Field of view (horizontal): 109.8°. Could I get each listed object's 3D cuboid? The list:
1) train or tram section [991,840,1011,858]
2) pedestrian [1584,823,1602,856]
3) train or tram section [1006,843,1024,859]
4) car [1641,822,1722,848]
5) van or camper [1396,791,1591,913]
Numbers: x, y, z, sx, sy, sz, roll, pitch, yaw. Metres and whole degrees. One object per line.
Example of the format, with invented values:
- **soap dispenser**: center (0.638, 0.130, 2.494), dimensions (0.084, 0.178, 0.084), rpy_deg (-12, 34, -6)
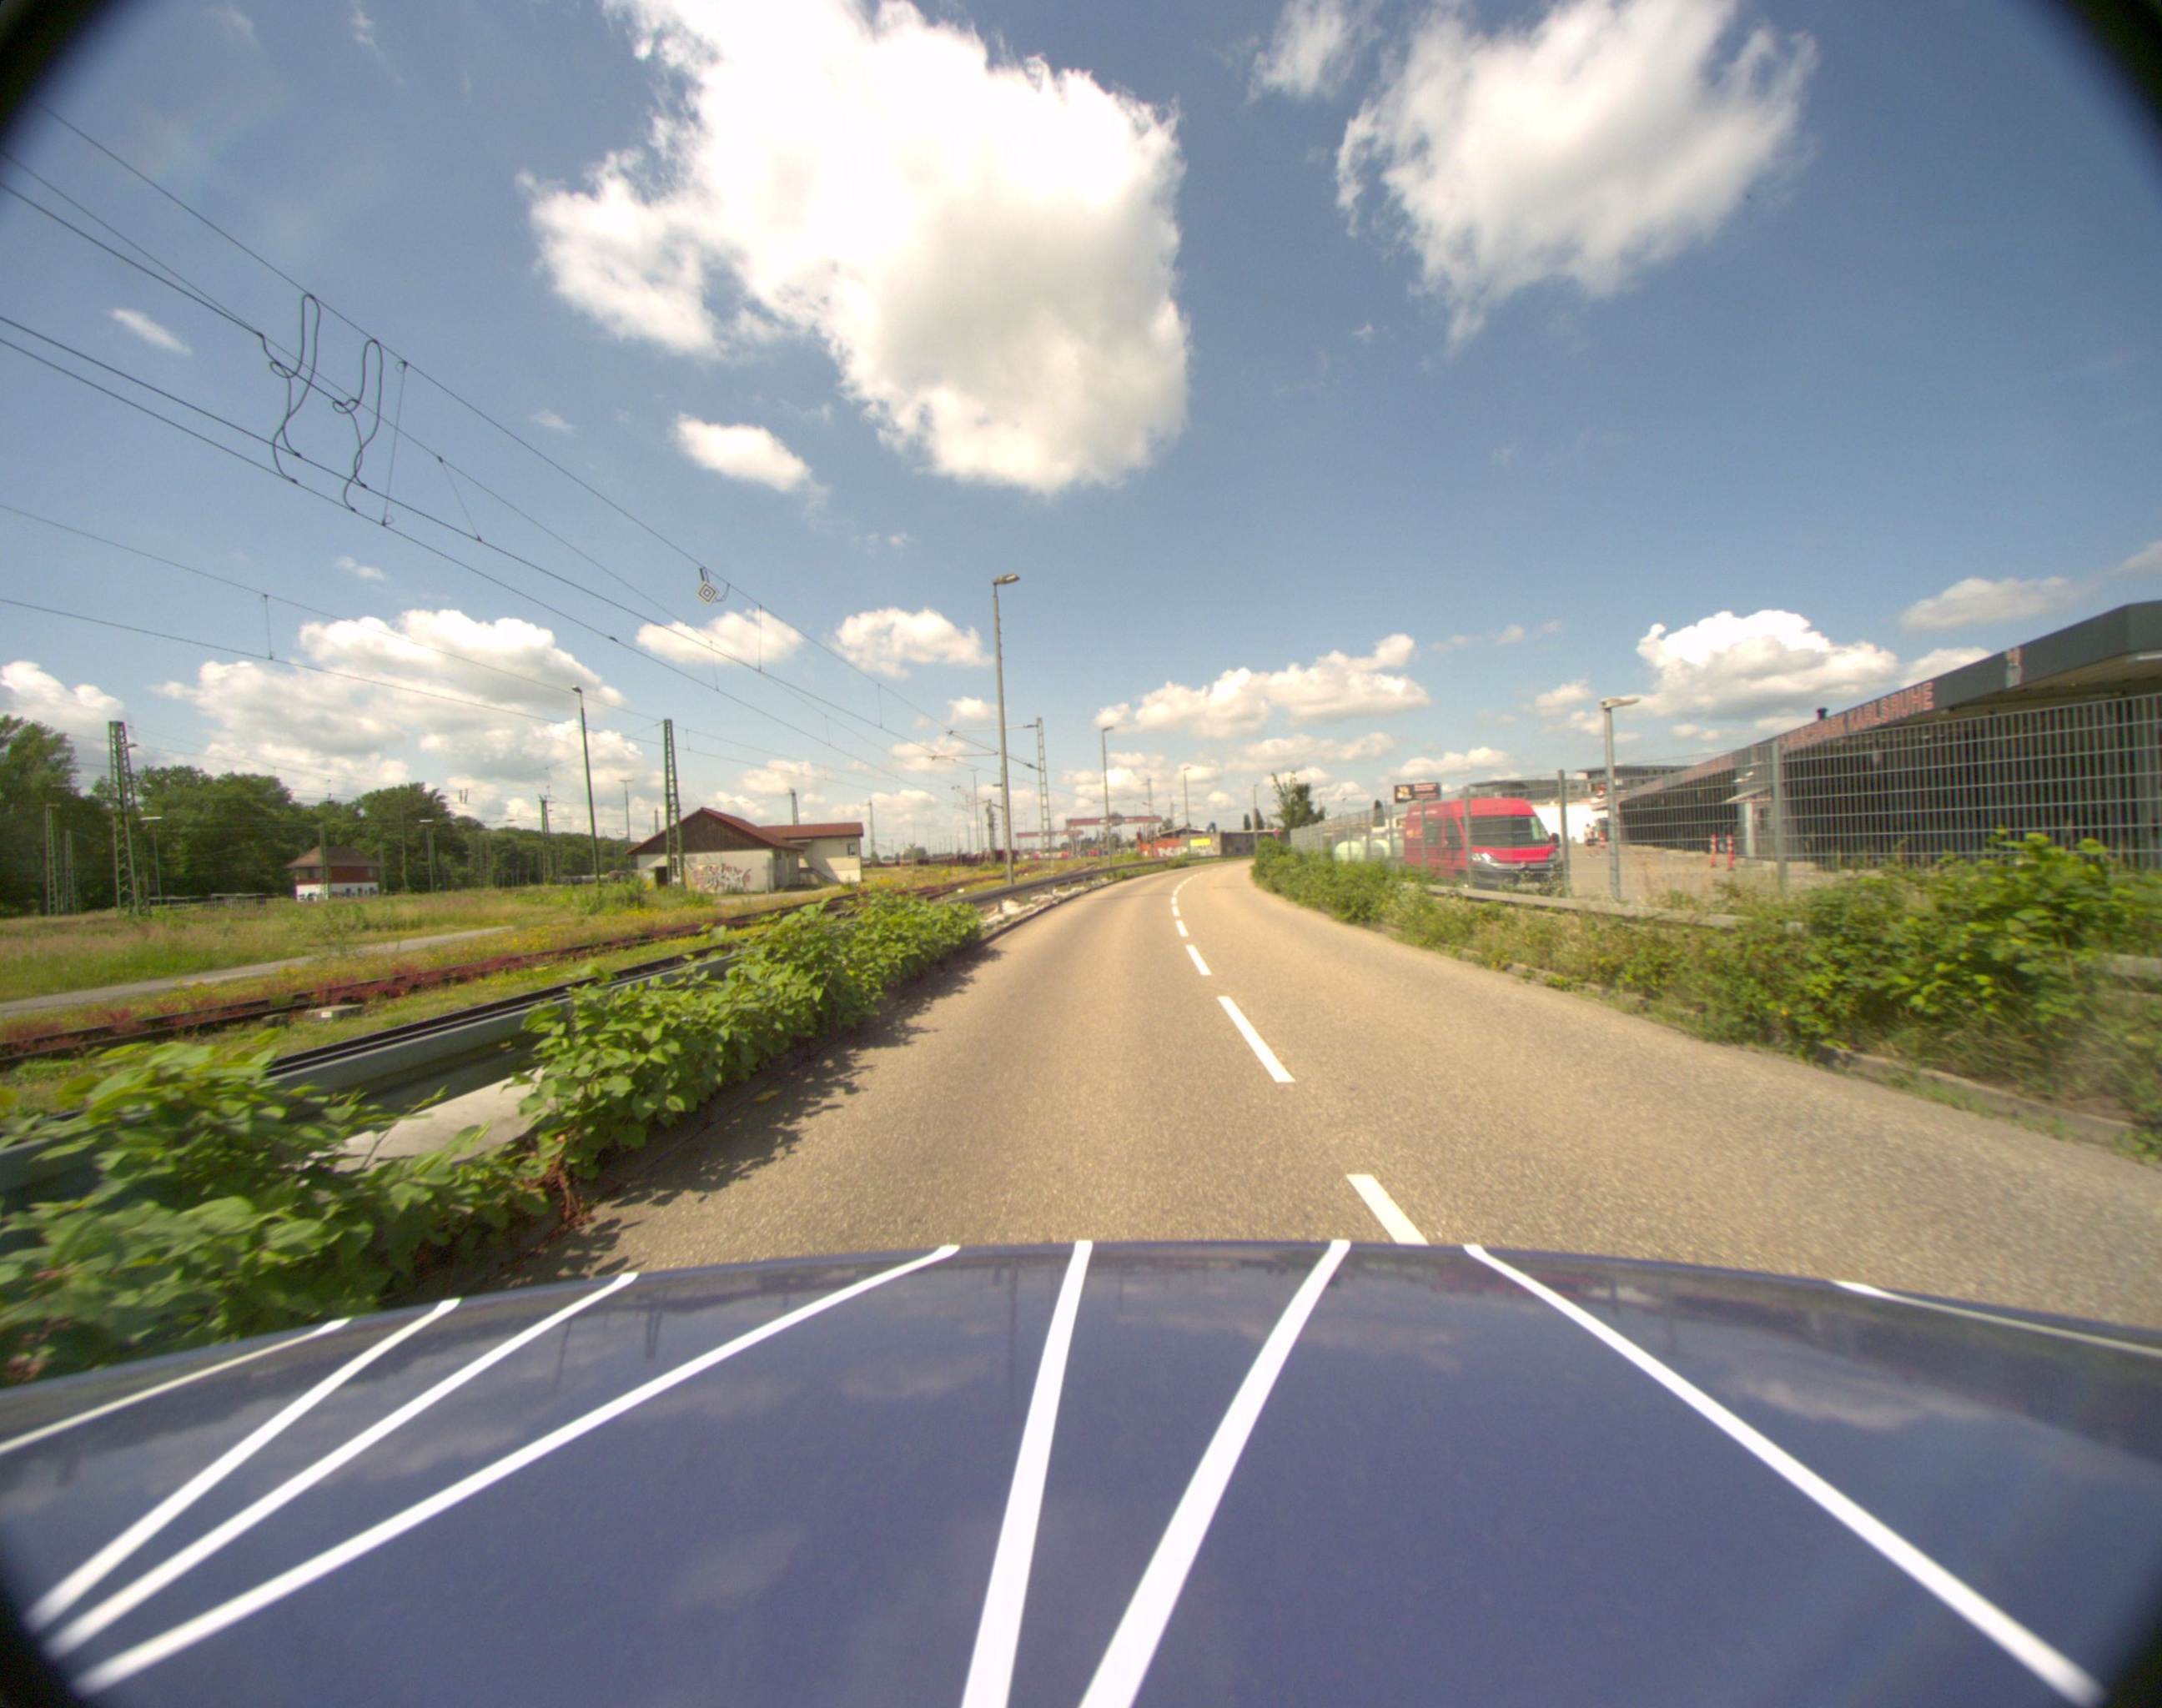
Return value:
- **train or tram section**: center (-17.812, -0.980, 168.538), dimensions (3.302, 3.695, 12.541), rpy_deg (-3, 0, -10)
- **pedestrian**: center (27.657, -0.773, 41.020), dimensions (0.693, 1.739, 0.746), rpy_deg (-2, 2, 29)
- **train or tram section**: center (-16.793, -0.775, 192.264), dimensions (3.206, 3.695, 12.541), rpy_deg (-3, 0, -10)
- **car**: center (40.788, -1.301, 51.761), dimensions (3.990, 1.553, 2.003), rpy_deg (-2, 1, 27)
- **van or camper**: center (9.680, -0.060, 18.516), dimensions (2.192, 2.499, 5.704), rpy_deg (0, 0, 6)
